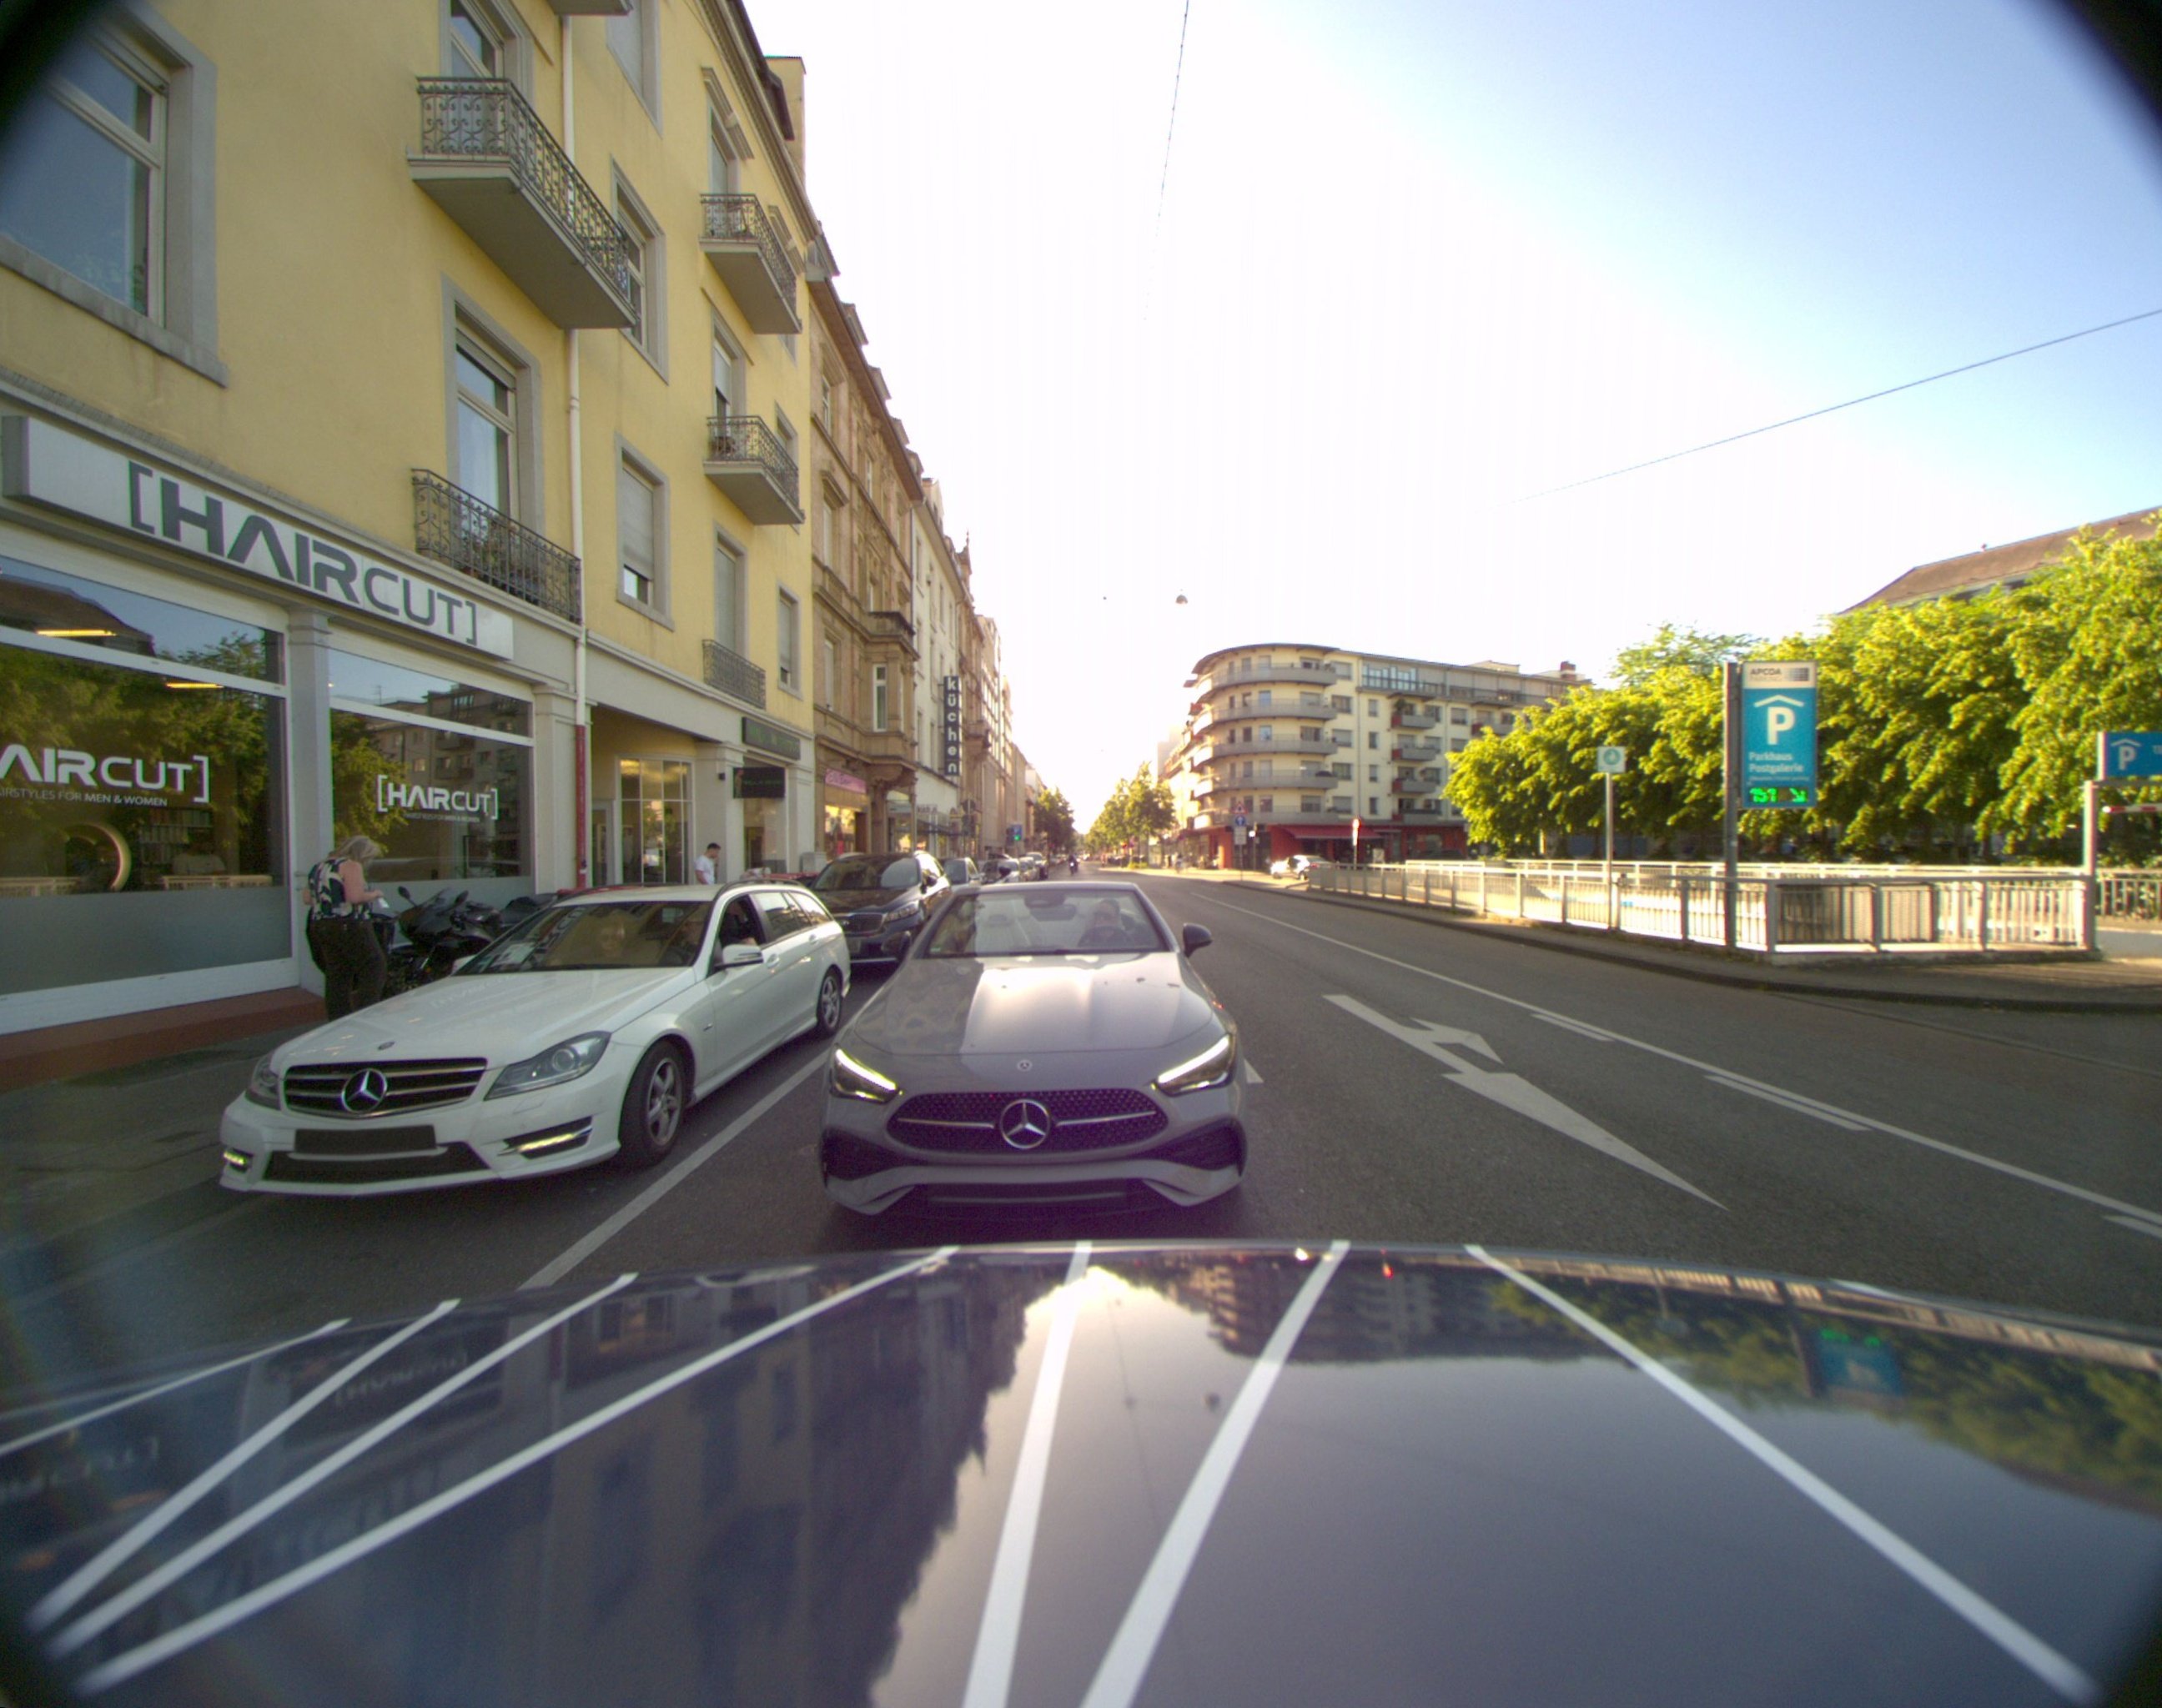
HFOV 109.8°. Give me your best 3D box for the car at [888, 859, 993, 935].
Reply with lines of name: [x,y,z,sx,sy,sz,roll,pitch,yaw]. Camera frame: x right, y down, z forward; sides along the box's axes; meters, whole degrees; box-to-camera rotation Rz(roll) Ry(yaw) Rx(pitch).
car: [-3.297,0.941,18.574,1.802,1.518,4.085,-2,1,-1]

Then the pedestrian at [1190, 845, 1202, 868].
pedestrian: [10.295,0.181,68.020,0.860,2.002,0.889,-2,1,0]

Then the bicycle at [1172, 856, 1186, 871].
bicycle: [7.770,0.774,60.320,0.528,1.163,1.591,-2,1,-16]

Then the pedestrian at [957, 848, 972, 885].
pedestrian: [-5.932,0.631,38.818,0.574,1.840,0.665,-2,1,1]

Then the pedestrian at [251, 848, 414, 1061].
pedestrian: [-6.064,0.776,6.194,0.719,1.644,0.606,1,1,1]

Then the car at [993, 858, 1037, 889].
car: [-3.156,0.911,36.822,1.802,1.332,3.838,-2,1,-1]

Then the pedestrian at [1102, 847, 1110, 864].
pedestrian: [2.918,0.211,90.275,0.860,2.002,0.889,-2,1,1]

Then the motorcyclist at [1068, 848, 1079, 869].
motorcyclist: [-0.556,0.304,54.712,0.722,1.438,0.705,-2,1,2]

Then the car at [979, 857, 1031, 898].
car: [-3.004,0.886,30.703,1.660,1.423,4.085,-2,1,-1]

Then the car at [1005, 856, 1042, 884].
car: [-3.043,0.839,41.097,1.725,1.332,3.668,-2,1,-1]

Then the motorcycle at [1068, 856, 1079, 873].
motorcycle: [-0.540,0.759,54.757,0.720,1.177,1.906,-2,1,2]

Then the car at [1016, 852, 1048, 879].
car: [-3.054,0.695,47.651,1.725,1.506,4.004,-2,1,-1]

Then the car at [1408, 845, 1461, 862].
car: [29.047,-0.049,62.427,4.004,1.294,1.753,-2,1,-23]

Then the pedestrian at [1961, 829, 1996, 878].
pedestrian: [32.578,-0.025,27.580,0.647,1.711,0.607,-3,1,-19]

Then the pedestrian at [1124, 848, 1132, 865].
pedestrian: [5.647,0.243,91.067,0.792,2.002,0.889,-2,1,1]

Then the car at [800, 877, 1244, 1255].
car: [-0.235,0.951,5.170,1.802,1.351,3.999,-2,1,0]

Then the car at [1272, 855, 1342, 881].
car: [13.184,0.814,44.654,1.826,1.346,4.257,0,1,-18]

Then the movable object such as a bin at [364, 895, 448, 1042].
movable object such as a bin: [-5.946,0.994,6.706,0.391,1.231,0.394,1,1,1]

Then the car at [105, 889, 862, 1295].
car: [-3.059,1.075,5.283,1.704,1.351,4.378,-2,1,1]

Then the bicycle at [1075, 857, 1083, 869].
bicycle: [-0.178,0.803,67.823,0.641,1.078,2.061,-1,0,-1]

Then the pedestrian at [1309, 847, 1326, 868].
pedestrian: [17.906,0.258,57.557,0.863,1.586,0.887,-3,1,-38]

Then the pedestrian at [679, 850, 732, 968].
pedestrian: [-6.412,0.914,12.999,0.373,1.971,0.695,0,1,23]

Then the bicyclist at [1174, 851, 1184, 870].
bicyclist: [7.770,0.505,60.253,0.525,1.539,0.797,-3,1,-15]

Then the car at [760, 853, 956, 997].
car: [-3.028,0.852,11.285,1.803,1.629,4.243,-2,1,-3]

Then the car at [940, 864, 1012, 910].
car: [-3.393,1.030,25.283,1.802,1.259,4.085,-2,1,-1]

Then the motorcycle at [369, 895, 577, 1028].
motorcycle: [-6.217,1.039,7.934,0.567,1.072,1.954,2,1,1]

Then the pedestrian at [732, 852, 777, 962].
pedestrian: [-5.702,0.905,13.261,0.576,1.840,0.663,-3,1,-30]

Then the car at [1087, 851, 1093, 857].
car: [2.316,-0.081,191.909,1.615,1.534,3.931,-1,0,1]

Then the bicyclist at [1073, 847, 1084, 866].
bicyclist: [-0.235,0.237,67.739,0.885,1.625,0.768,-2,1,-1]
